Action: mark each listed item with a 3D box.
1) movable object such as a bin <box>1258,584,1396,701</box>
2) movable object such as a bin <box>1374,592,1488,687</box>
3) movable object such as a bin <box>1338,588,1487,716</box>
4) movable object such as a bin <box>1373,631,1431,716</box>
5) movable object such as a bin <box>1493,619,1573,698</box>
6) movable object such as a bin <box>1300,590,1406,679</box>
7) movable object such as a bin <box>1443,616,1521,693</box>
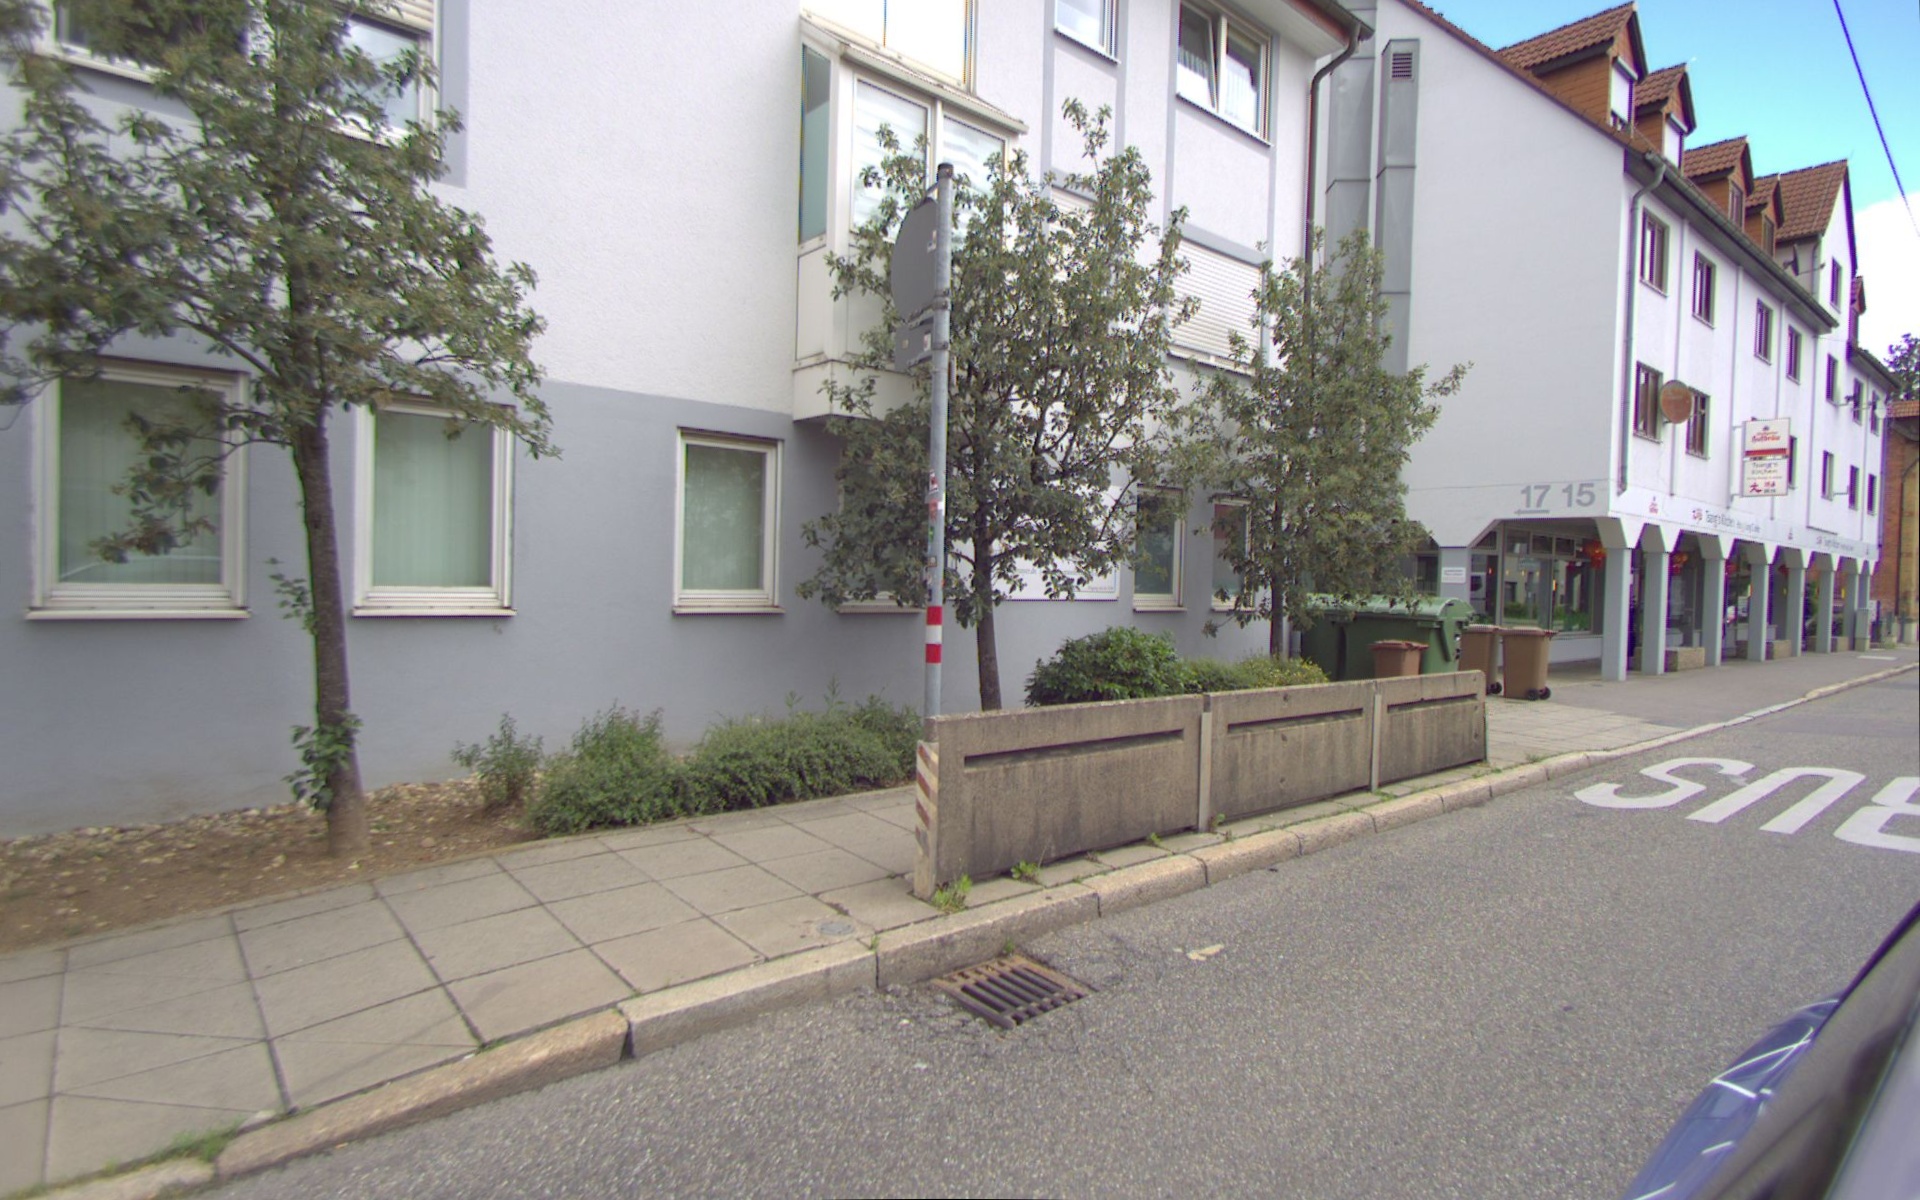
[{"bbox_3d":[4.977,0.531,13.735,1.284,1.453,1.270,1,1,-40],"label":"movable object such as a bin"},{"bbox_3d":[7.670,0.610,16.492,1.236,1.435,1.213,1,1,-37],"label":"movable object such as a bin"},{"bbox_3d":[5.554,0.595,12.440,1.141,1.435,1.270,1,1,-40],"label":"movable object such as a bin"},{"bbox_3d":[5.117,0.837,11.711,0.457,0.932,0.431,1,1,-40],"label":"movable object such as a bin"},{"bbox_3d":[8.465,0.847,14.959,0.953,1.080,0.685,1,1,-37],"label":"movable object such as a bin"},{"bbox_3d":[6.808,0.561,17.552,1.236,1.435,1.213,1,1,-37],"label":"movable object such as a bin"},{"bbox_3d":[8.017,0.817,15.538,0.953,1.092,0.700,1,1,-37],"label":"movable object such as a bin"}]
